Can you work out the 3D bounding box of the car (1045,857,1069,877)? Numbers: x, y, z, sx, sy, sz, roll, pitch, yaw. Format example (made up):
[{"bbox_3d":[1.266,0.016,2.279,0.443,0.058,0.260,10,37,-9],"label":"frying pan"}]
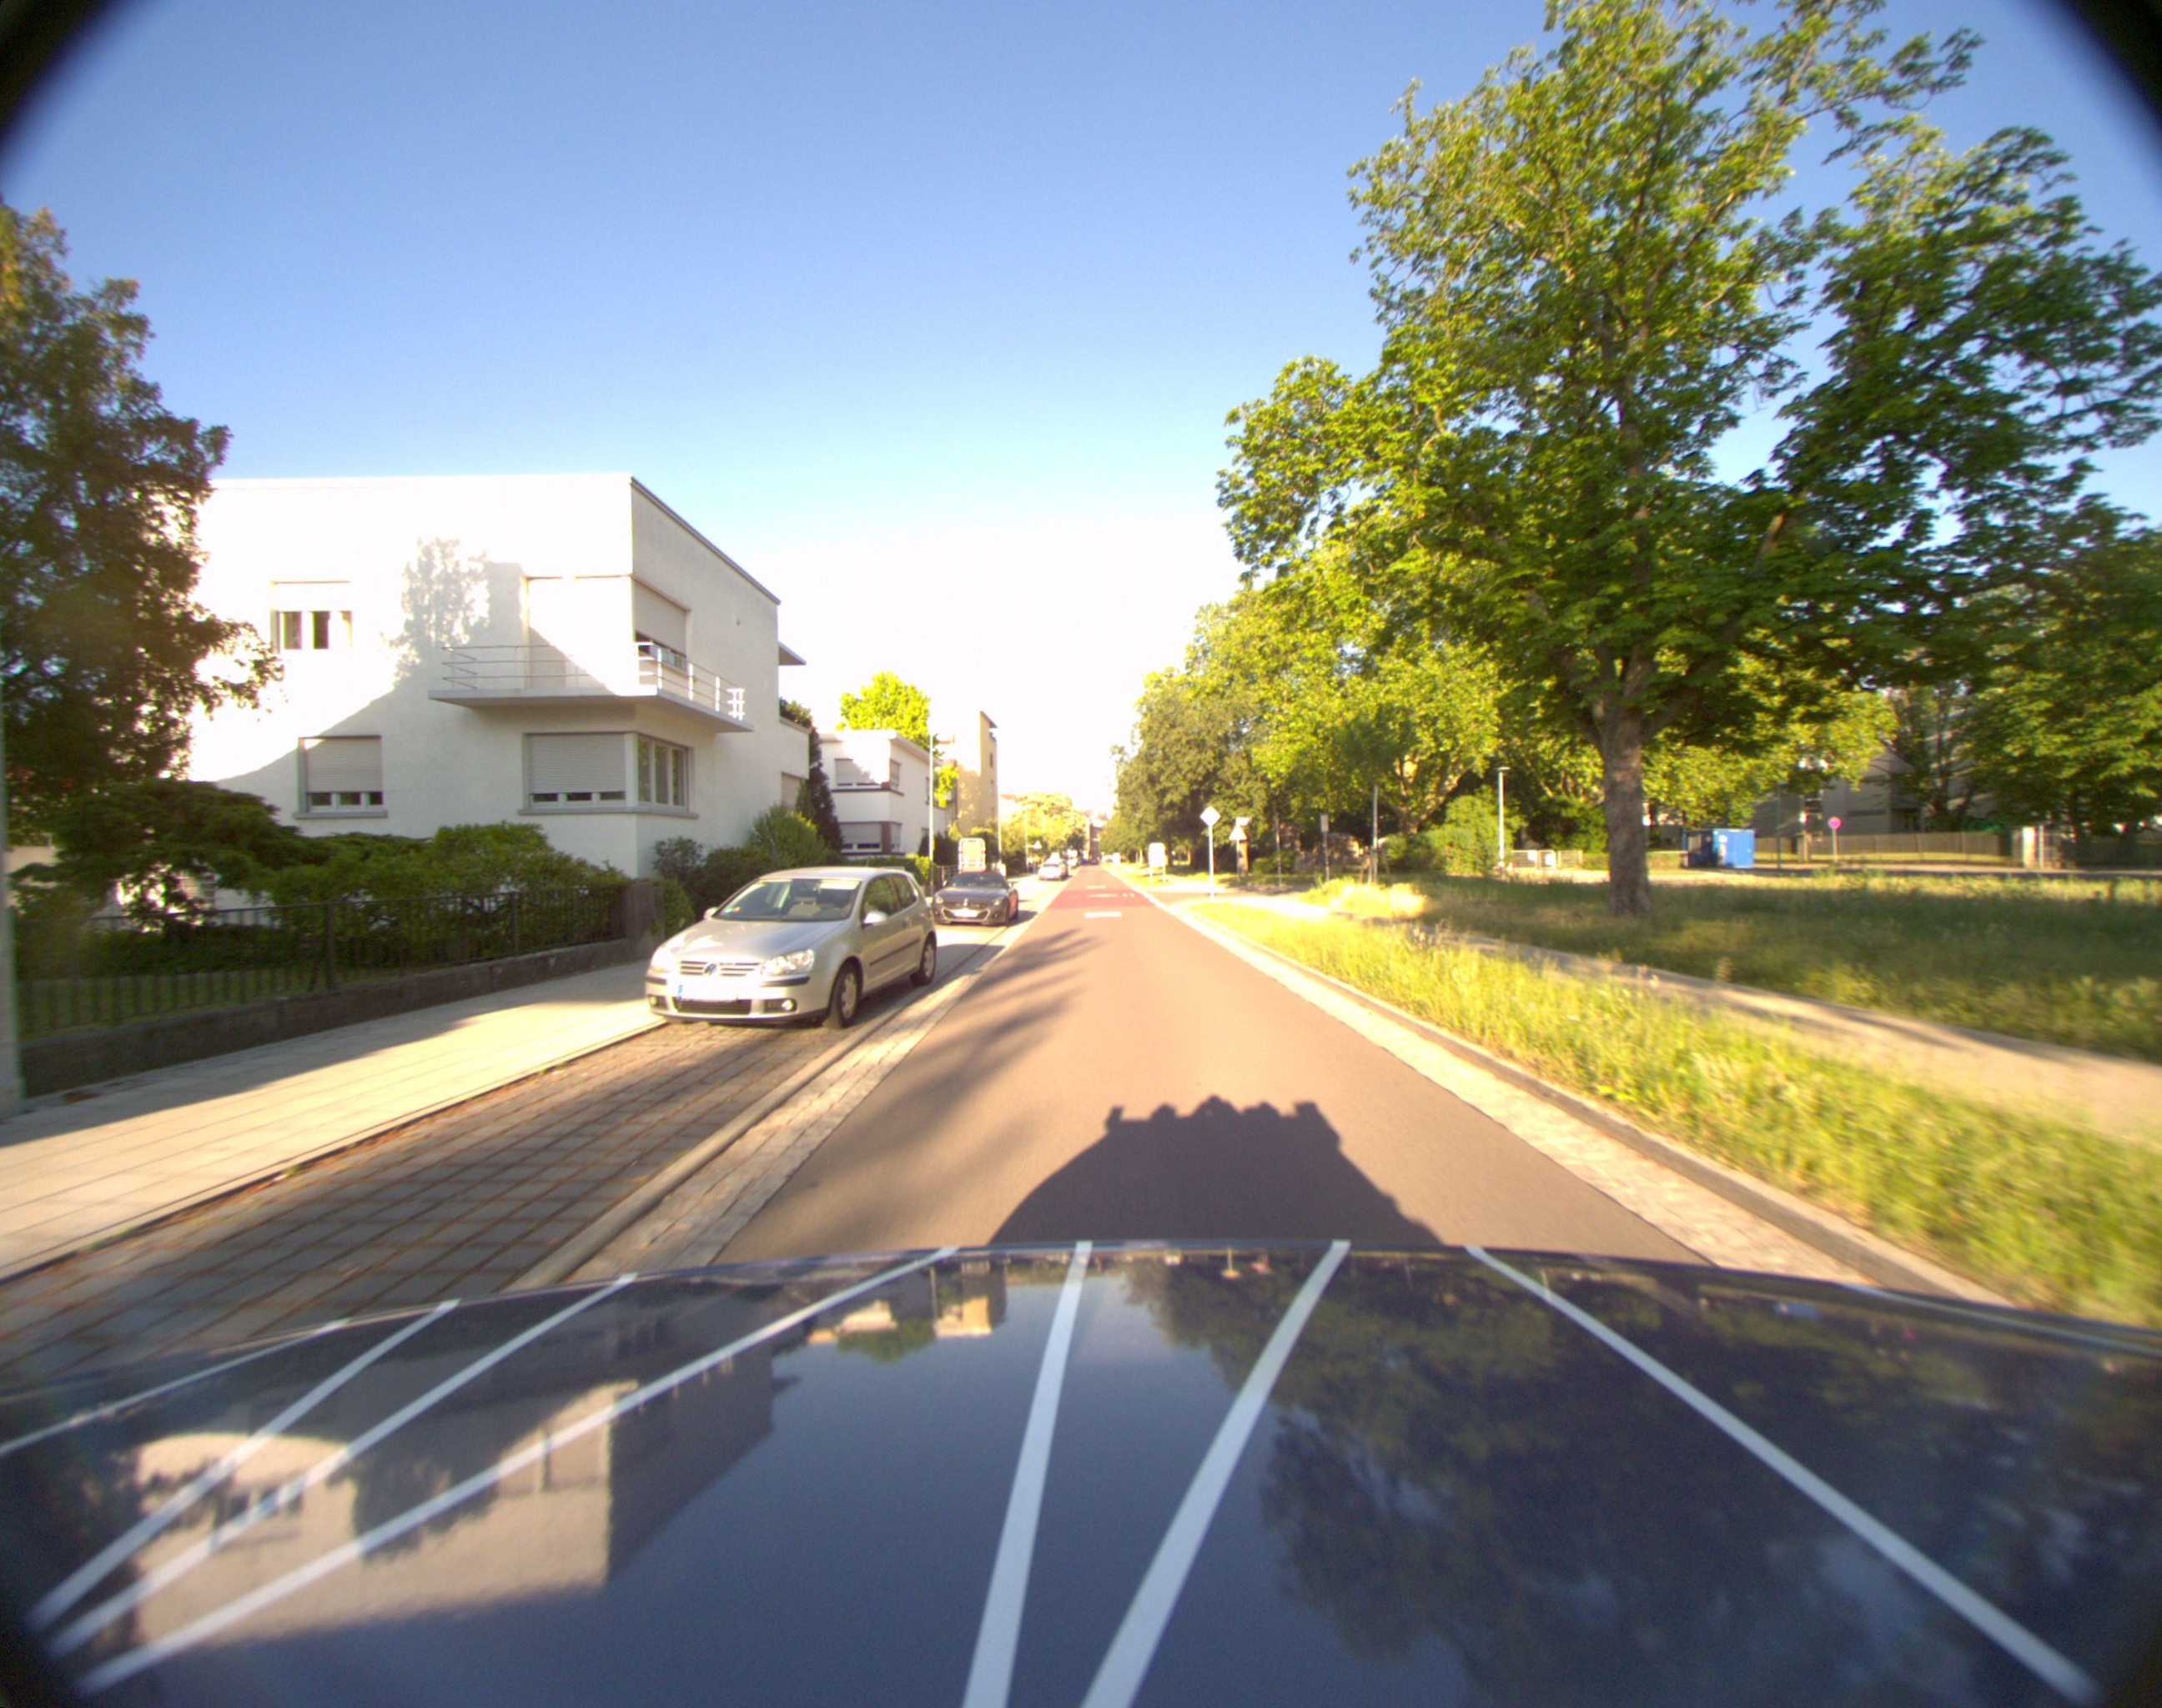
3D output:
[{"bbox_3d":[-1.952,1.046,62.020,1.682,1.546,4.130,0,0,2],"label":"car"}]

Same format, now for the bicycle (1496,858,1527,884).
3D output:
[{"bbox_3d":[20.856,0.821,36.799,1.591,1.180,0.419,-1,1,-22],"label":"bicycle"}]

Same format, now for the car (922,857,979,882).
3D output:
[{"bbox_3d":[-8.956,1.058,52.176,3.499,1.632,1.644,-2,0,9],"label":"car"}]

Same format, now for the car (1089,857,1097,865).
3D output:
[{"bbox_3d":[2.963,1.639,186.341,1.848,1.836,4.572,-1,0,-1],"label":"car"}]

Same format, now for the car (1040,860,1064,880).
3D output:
[{"bbox_3d":[-2.111,1.152,56.484,1.567,1.382,4.374,0,0,1],"label":"car"}]

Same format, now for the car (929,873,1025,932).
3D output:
[{"bbox_3d":[-2.576,1.171,19.710,1.779,1.281,4.273,1,-1,1],"label":"car"}]

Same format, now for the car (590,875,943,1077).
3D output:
[{"bbox_3d":[-2.908,1.022,8.068,1.748,1.465,3.924,2,0,6],"label":"car"}]

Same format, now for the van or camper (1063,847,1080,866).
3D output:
[{"bbox_3d":[-1.380,0.401,115.014,2.427,2.766,5.952,1,0,0],"label":"van or camper"}]

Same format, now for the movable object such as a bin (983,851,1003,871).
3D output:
[{"bbox_3d":[-6.482,0.519,55.873,1.240,1.424,1.123,-2,0,3],"label":"movable object such as a bin"}]
